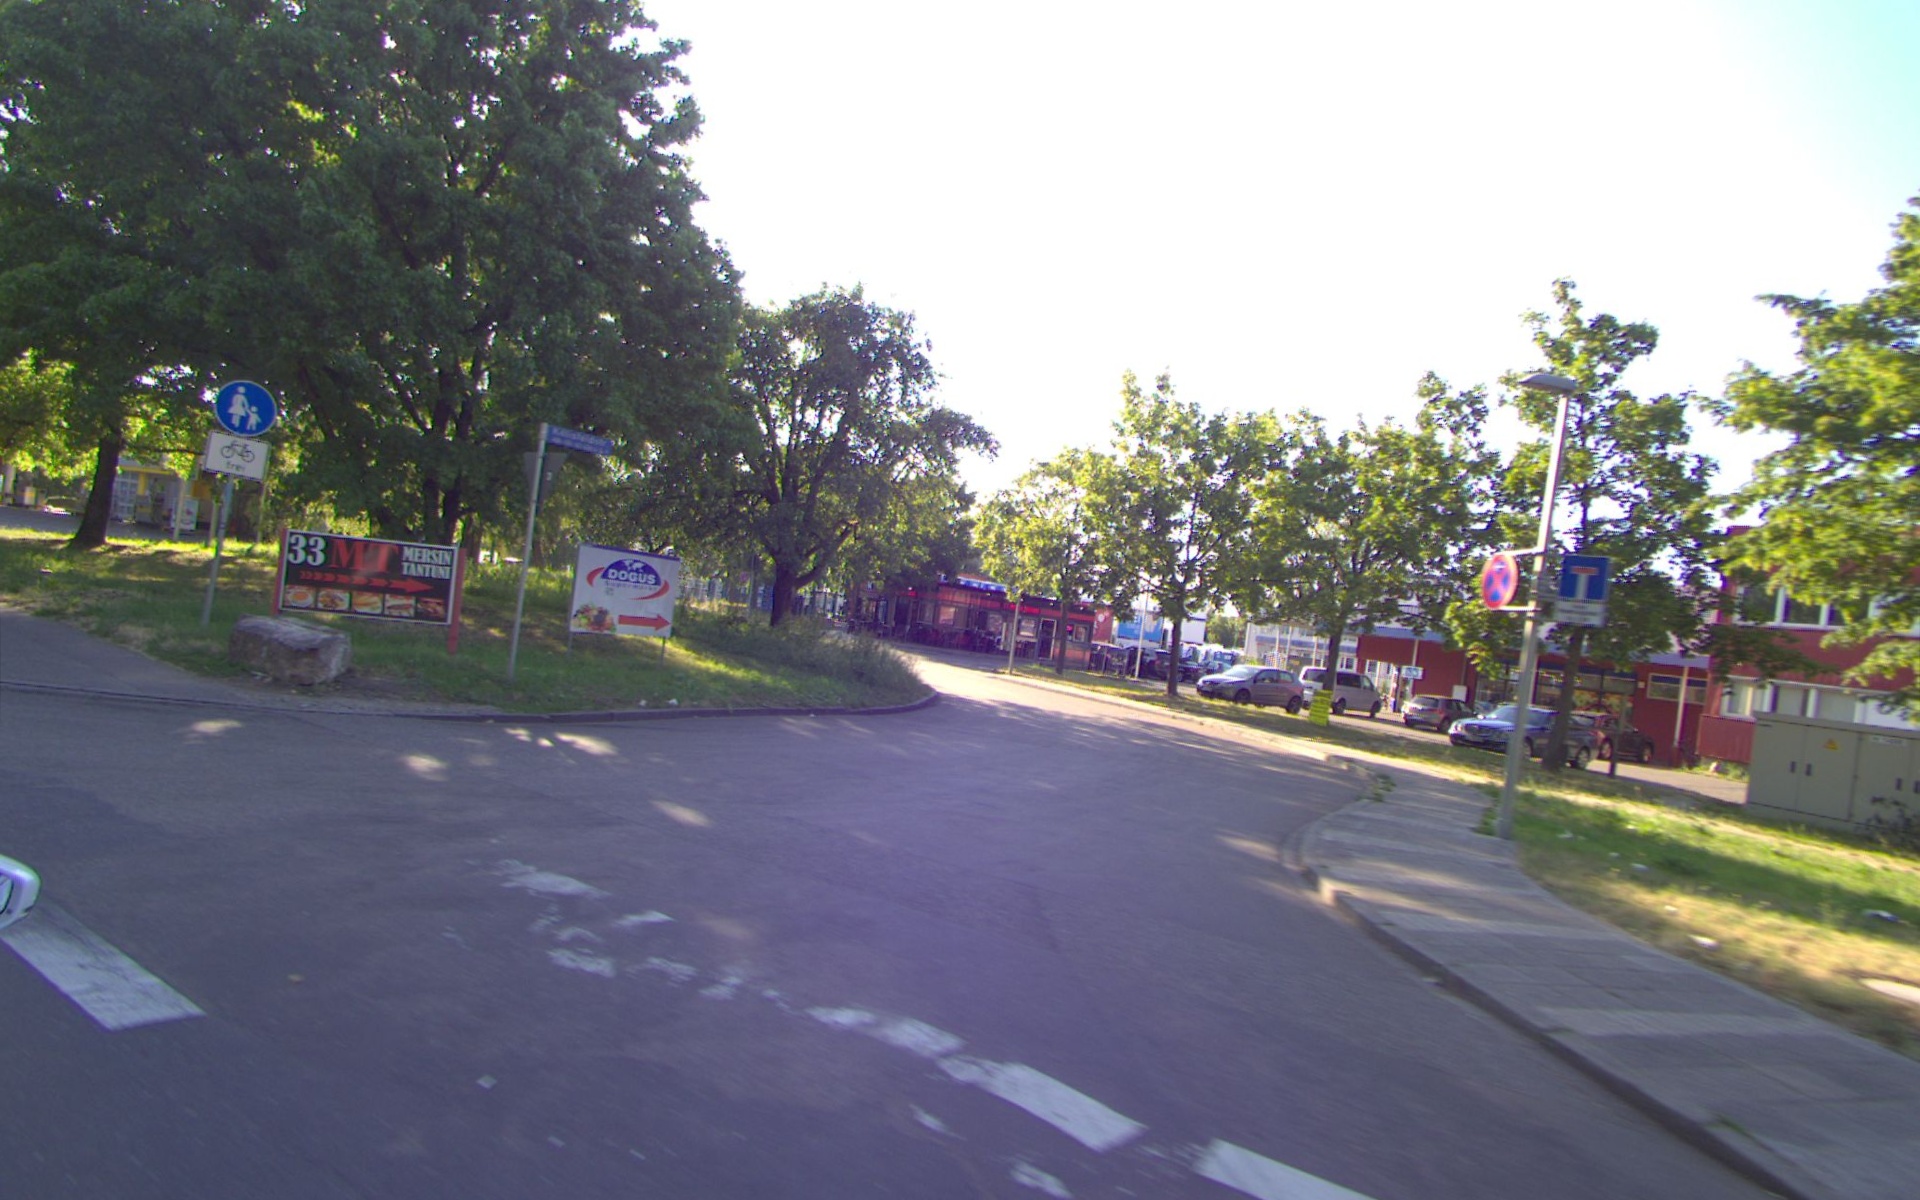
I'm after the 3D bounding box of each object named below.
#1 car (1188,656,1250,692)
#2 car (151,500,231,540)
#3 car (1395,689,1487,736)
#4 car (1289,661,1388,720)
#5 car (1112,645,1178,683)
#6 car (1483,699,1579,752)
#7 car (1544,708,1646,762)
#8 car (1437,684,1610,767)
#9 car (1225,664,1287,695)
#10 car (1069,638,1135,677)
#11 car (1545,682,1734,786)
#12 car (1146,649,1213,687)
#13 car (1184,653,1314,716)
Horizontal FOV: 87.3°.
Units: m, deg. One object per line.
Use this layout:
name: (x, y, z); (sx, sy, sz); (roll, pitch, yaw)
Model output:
car: (16.321, 4.660, 63.564); (1.683, 1.707, 3.624); (10, -3, -27)
car: (-44.736, -4.643, 58.530); (4.319, 1.749, 1.817); (7, 0, 25)
car: (20.021, 4.694, 41.853); (3.519, 1.365, 1.672); (11, -3, -31)
car: (17.195, 4.116, 45.589); (4.615, 1.996, 1.873); (11, -3, -37)
car: (10.854, 3.740, 59.226); (1.683, 1.707, 3.840); (10, -3, -27)
car: (22.460, 4.948, 39.543); (3.519, 1.518, 1.672); (11, -3, -31)
car: (23.331, 4.967, 36.953); (3.519, 1.442, 1.672); (11, -3, -31)
car: (14.831, 3.310, 26.427); (4.623, 1.492, 1.775); (11, -3, -30)
car: (19.156, 5.140, 65.221); (1.683, 1.478, 3.624); (10, -3, -27)
car: (8.118, 3.295, 57.998); (1.683, 1.707, 3.840); (10, -3, -27)
car: (15.393, 3.043, 22.737); (4.399, 1.840, 1.693); (8, -1, -31)
car: (13.112, 4.055, 60.288); (1.683, 1.707, 3.840); (10, -3, -27)
car: (9.967, 2.903, 34.636); (4.154, 1.492, 1.776); (11, -3, -29)
